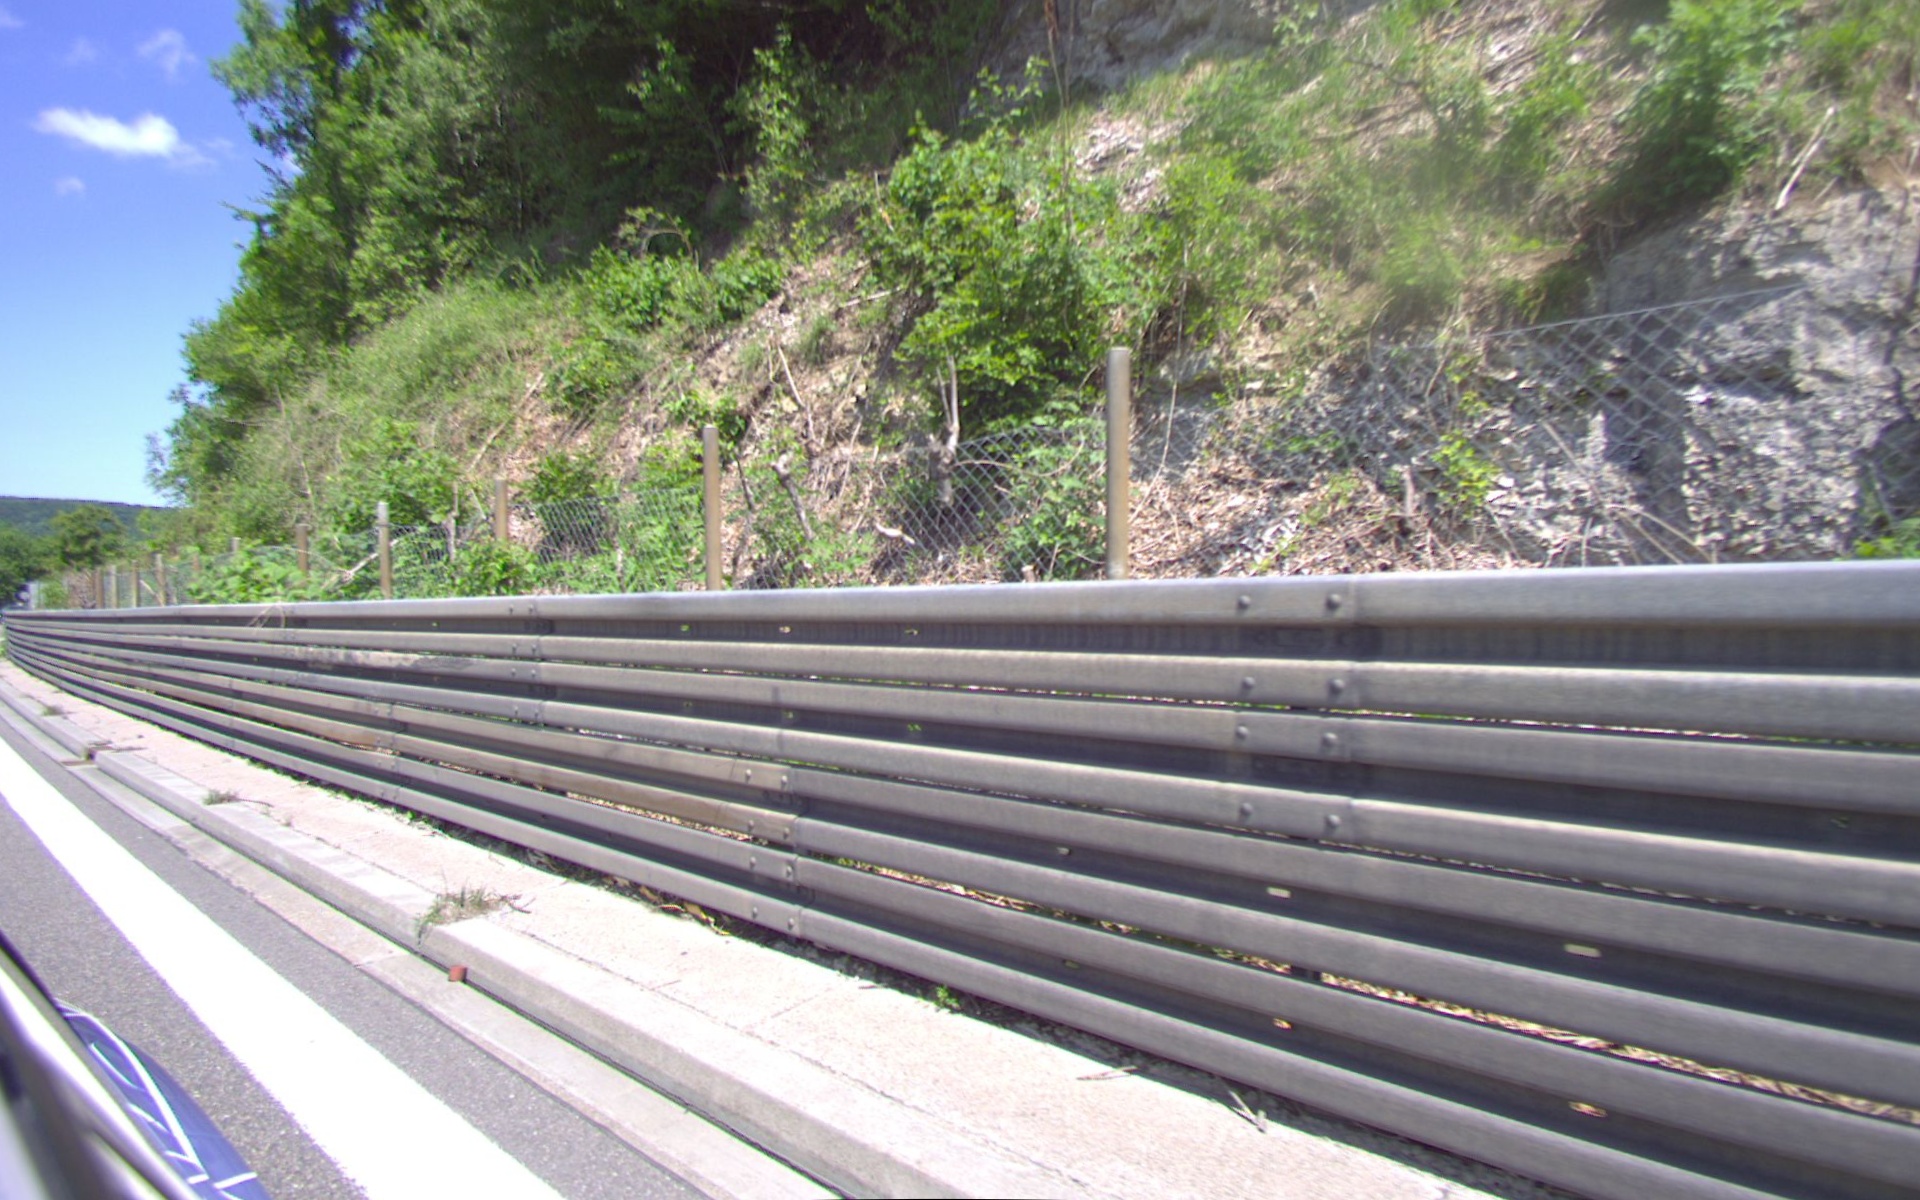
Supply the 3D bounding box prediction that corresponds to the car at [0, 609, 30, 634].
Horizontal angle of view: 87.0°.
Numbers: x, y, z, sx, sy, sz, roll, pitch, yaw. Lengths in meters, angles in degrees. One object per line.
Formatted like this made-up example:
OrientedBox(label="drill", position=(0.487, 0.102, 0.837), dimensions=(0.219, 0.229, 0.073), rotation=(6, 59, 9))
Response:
OrientedBox(label="car", position=(-78.508, 1.741, 83.493), dimensions=(1.966, 2.029, 4.011), rotation=(0, -1, -34))
